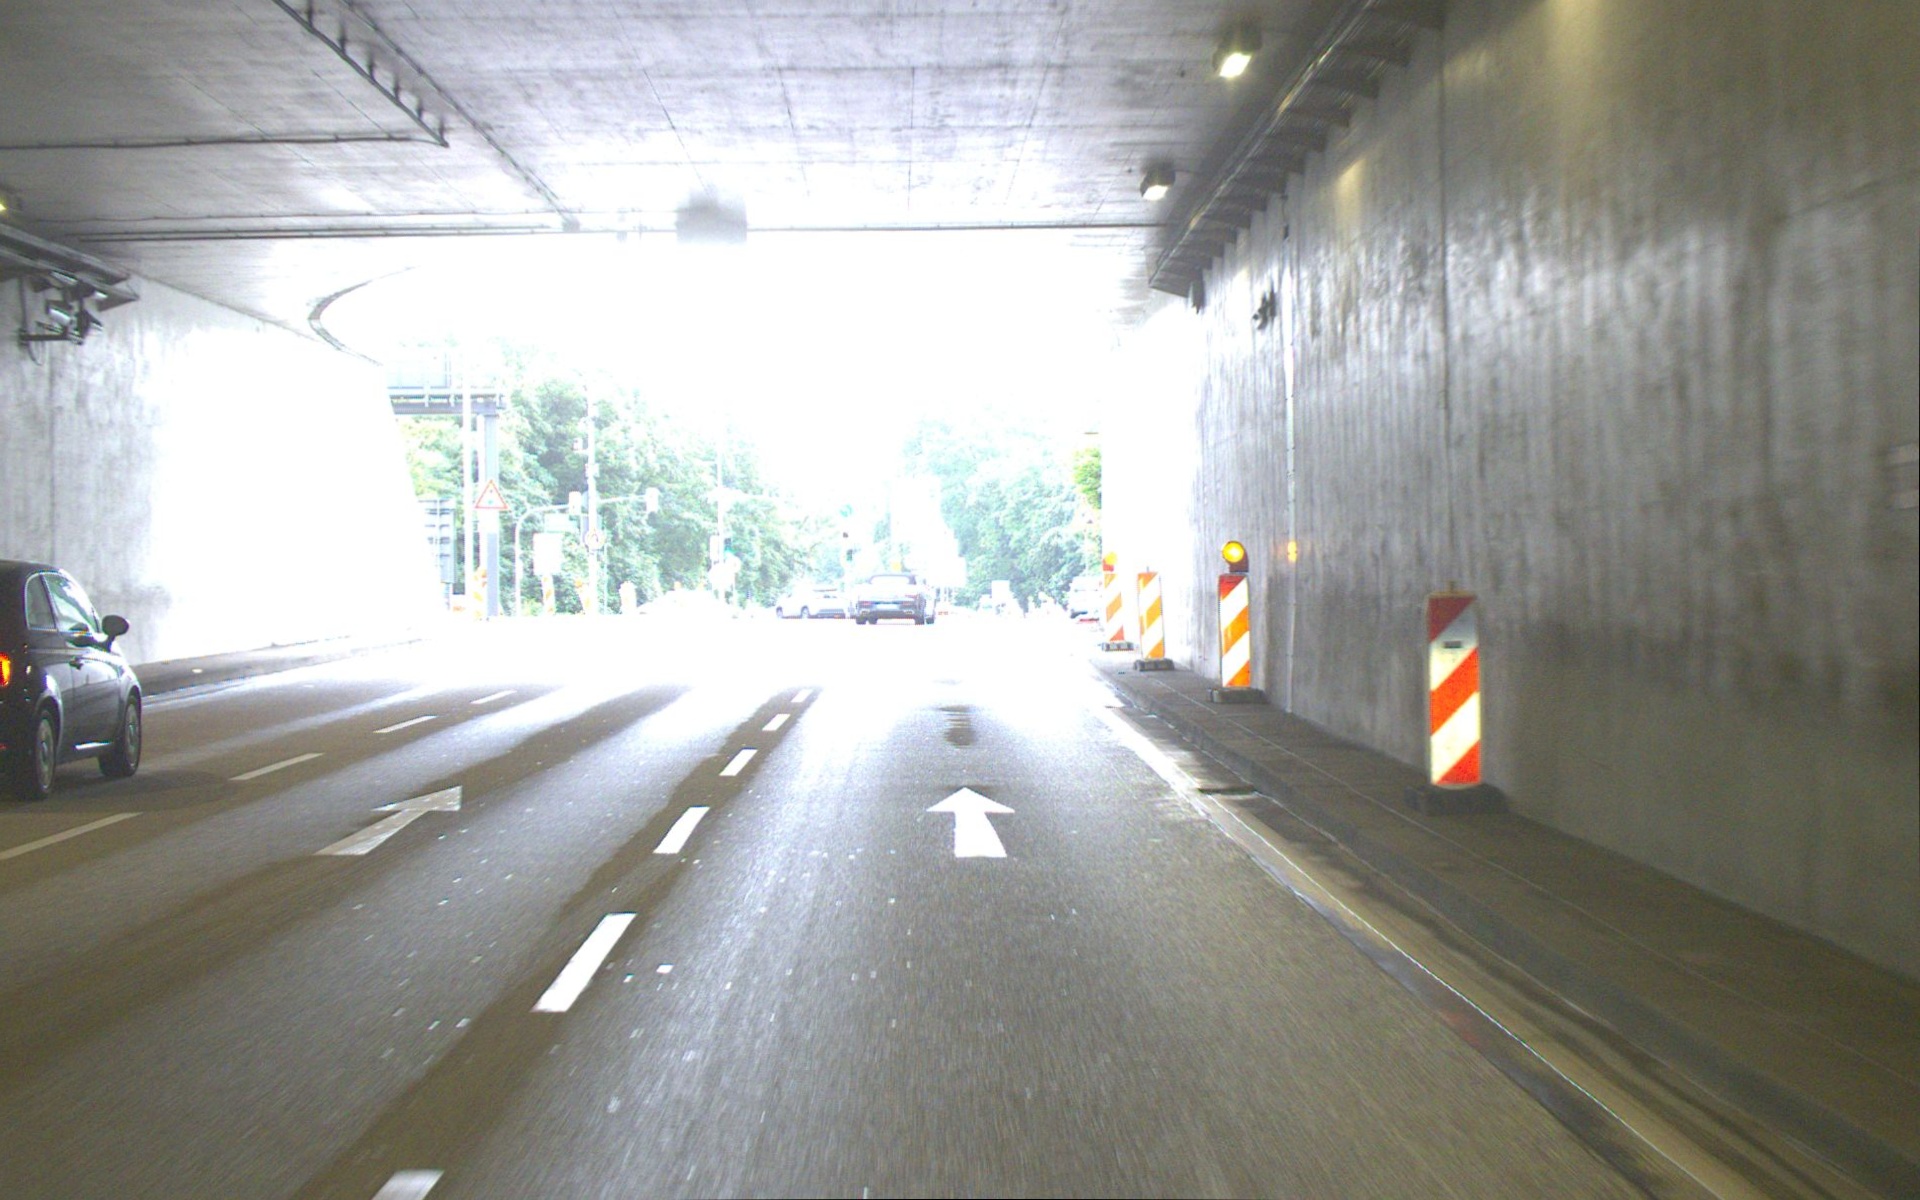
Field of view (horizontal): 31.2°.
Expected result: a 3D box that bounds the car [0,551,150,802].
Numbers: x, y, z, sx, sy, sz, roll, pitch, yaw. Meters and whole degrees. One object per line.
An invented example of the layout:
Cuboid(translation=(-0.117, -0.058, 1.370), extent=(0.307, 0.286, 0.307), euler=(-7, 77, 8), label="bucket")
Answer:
Cuboid(translation=(-6.363, 0.415, 21.934), extent=(1.612, 1.449, 3.573), euler=(2, 1, -2), label="car")

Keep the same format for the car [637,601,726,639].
Cuboid(translation=(-12.140, 0.864, 149.586), extent=(1.892, 1.509, 3.999), euler=(0, 1, -40), label="car")

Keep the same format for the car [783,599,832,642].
Cuboid(translation=(-6.267, 0.828, 141.164), extent=(1.891, 1.678, 4.001), euler=(1, 1, -4), label="car")

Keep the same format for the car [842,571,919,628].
Cuboid(translation=(-2.157, -0.005, 92.600), extent=(1.993, 1.443, 4.314), euler=(1, -1, -2), label="car")

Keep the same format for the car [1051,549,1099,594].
Cuboid(translation=(5.433, -1.347, 162.746), extent=(1.993, 2.007, 4.000), euler=(2, 0, -1), label="car")
